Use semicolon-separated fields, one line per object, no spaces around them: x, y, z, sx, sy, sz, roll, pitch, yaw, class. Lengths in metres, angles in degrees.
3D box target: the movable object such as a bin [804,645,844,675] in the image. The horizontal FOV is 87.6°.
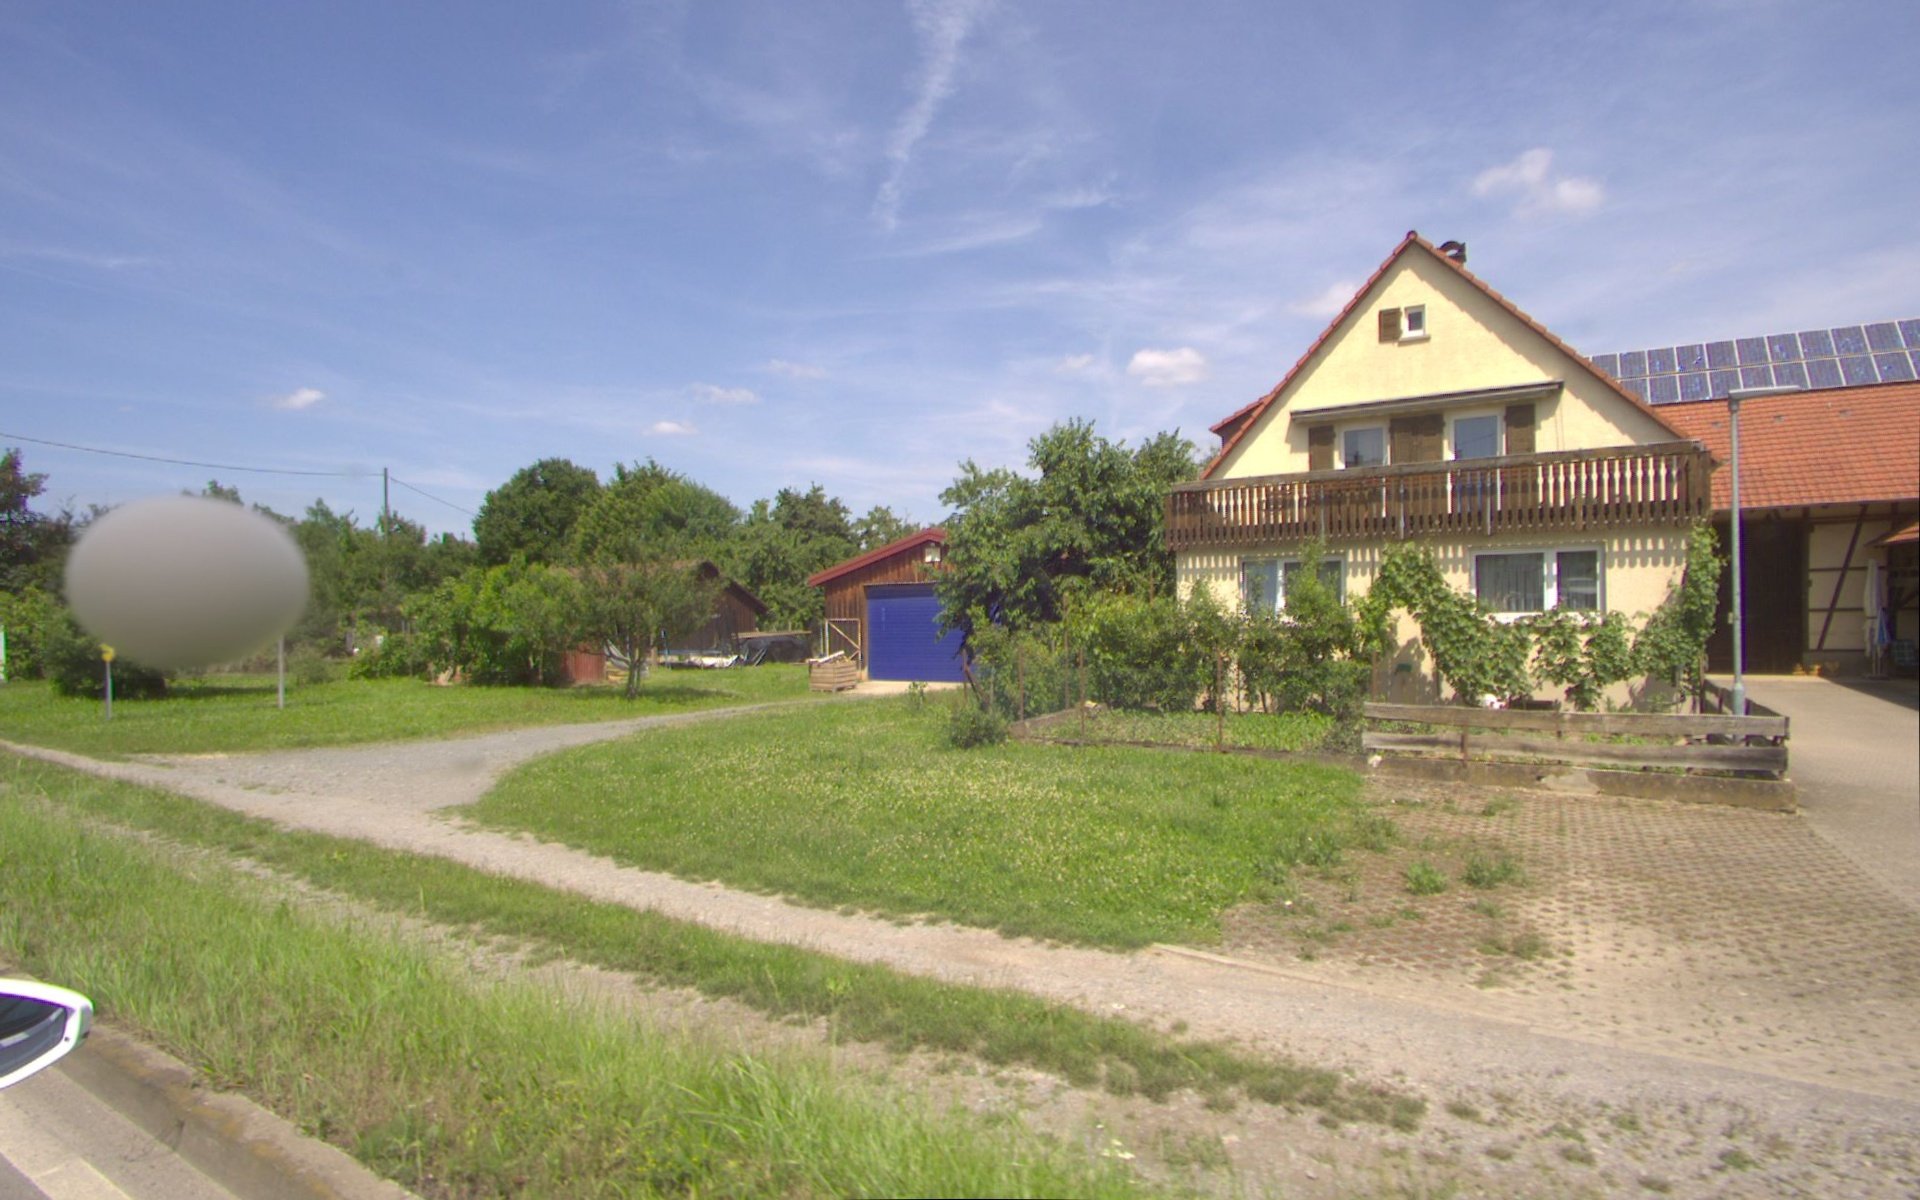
-4.883;2.137;36.010;1.045;1.046;1.040;0;-2;19;movable object such as a bin
